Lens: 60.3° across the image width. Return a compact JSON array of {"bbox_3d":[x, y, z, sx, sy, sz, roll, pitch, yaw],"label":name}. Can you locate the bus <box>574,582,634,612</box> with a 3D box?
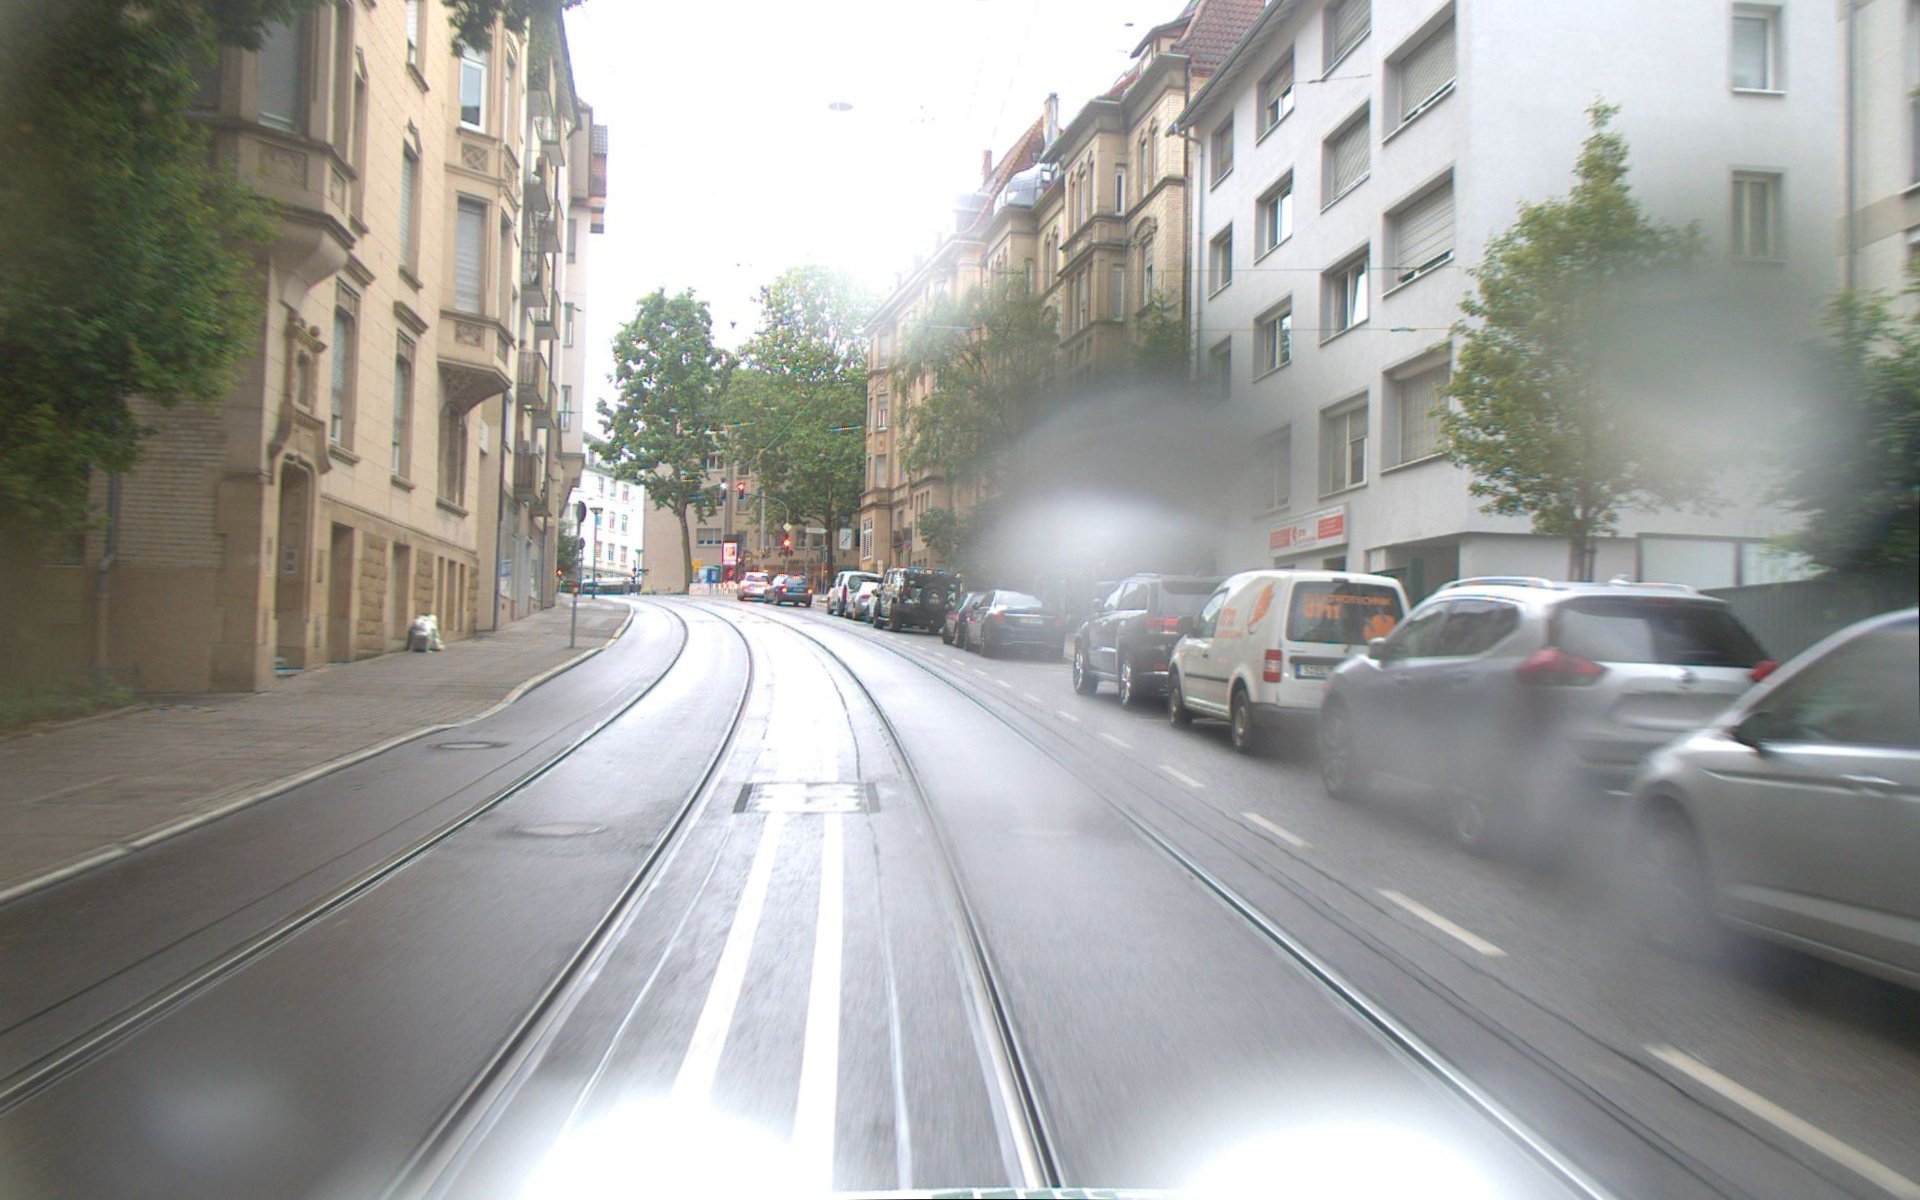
[{"bbox_3d":[-36.234,-0.347,168.745,2.793,2.911,8.742,1,1,11],"label":"bus"}]

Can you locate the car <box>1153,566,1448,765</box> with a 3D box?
[{"bbox_3d":[3.502,0.609,17.939,1.744,1.826,4.464,2,0,-7],"label":"car"}]

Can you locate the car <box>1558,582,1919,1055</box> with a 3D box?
[{"bbox_3d":[4.235,0.790,6.254,1.797,1.656,4.657,2,0,-7],"label":"car"}]

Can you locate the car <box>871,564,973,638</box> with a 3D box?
[{"bbox_3d":[-1.248,-0.018,50.956,2.092,2.048,5.334,3,0,-12],"label":"car"}]

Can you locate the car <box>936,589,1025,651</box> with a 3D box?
[{"bbox_3d":[0.460,0.464,41.124,1.646,1.361,3.877,2,1,-7],"label":"car"}]

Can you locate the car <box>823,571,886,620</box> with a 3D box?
[{"bbox_3d":[-4.291,-0.223,66.868,1.766,1.795,4.448,3,0,-13],"label":"car"}]

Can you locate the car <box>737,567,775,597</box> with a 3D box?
[{"bbox_3d":[-10.658,-0.954,86.236,1.680,1.481,3.544,2,1,-11],"label":"car"}]

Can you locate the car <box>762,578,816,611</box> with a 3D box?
[{"bbox_3d":[-8.348,-0.264,80.640,1.685,1.440,4.014,2,1,-20],"label":"car"}]

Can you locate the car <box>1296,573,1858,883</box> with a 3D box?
[{"bbox_3d":[3.972,0.713,11.660,1.796,1.685,4.681,2,0,-6],"label":"car"}]

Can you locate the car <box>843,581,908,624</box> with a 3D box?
[{"bbox_3d":[-3.203,0.076,61.786,1.718,1.425,4.466,3,0,-11],"label":"car"}]

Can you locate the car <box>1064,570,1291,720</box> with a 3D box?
[{"bbox_3d":[2.904,0.555,23.279,1.906,1.826,4.812,2,0,-8],"label":"car"}]

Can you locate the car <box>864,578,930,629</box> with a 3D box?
[{"bbox_3d":[-2.192,0.107,56.869,1.533,1.573,3.573,3,0,-13],"label":"car"}]

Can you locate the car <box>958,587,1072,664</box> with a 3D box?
[{"bbox_3d":[1.144,0.512,36.584,1.760,1.462,4.603,2,1,-7],"label":"car"}]
